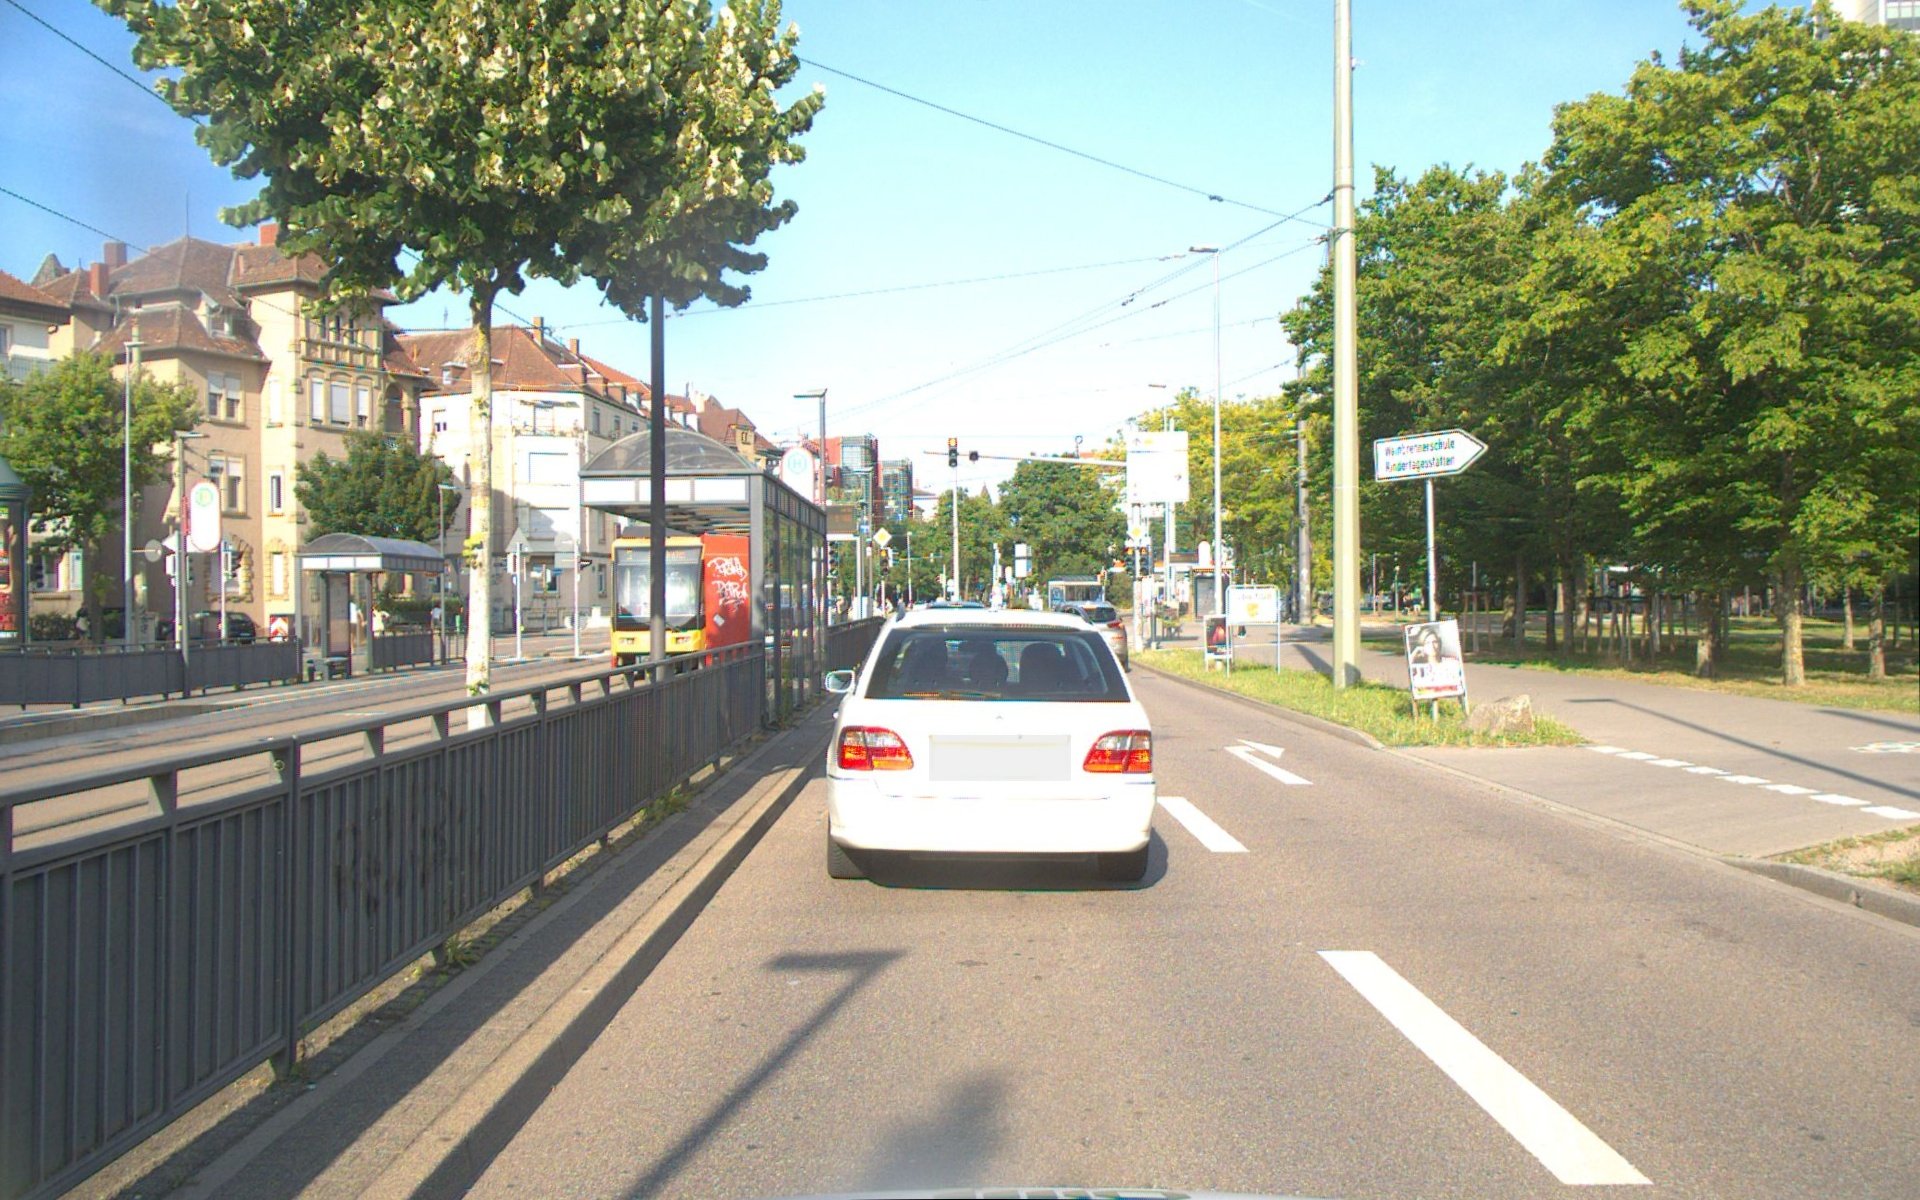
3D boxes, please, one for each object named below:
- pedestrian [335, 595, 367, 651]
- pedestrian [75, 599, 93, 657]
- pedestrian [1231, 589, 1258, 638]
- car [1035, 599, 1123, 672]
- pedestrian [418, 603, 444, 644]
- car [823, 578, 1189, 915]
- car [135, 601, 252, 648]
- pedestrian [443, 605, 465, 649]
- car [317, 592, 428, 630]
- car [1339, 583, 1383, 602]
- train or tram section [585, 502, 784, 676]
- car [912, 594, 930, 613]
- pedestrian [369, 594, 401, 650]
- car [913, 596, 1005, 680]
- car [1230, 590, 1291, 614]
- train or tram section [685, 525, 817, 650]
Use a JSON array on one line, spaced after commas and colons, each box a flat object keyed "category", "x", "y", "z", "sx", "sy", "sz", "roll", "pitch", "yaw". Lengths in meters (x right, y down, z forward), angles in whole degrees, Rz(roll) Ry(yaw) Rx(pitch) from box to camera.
[{"category": "pedestrian", "x": -19.516, "y": 0.724, "z": 53.026, "sx": 0.870, "sy": 1.784, "sz": 0.744, "roll": 0, "pitch": 0, "yaw": -11}, {"category": "pedestrian", "x": -30.792, "y": 0.975, "z": 58.144, "sx": 0.374, "sy": 2.049, "sz": 0.408, "roll": 0, "pitch": 0, "yaw": 18}, {"category": "pedestrian", "x": 9.847, "y": 0.473, "z": 57.266, "sx": 0.867, "sy": 1.681, "sz": 0.746, "roll": 0, "pitch": 0, "yaw": 8}, {"category": "car", "x": 2.837, "y": 0.801, "z": 39.530, "sx": 1.990, "sy": 1.633, "sz": 4.002, "roll": 0, "pitch": 0, "yaw": 4}, {"category": "pedestrian", "x": -23.266, "y": 1.013, "z": 72.792, "sx": 0.868, "sy": 1.784, "sz": 0.746, "roll": 0, "pitch": 0, "yaw": 3}, {"category": "car", "x": 0.129, "y": 0.672, "z": 9.918, "sx": 1.723, "sy": 1.529, "sz": 3.998, "roll": -2, "pitch": 1, "yaw": -3}, {"category": "car", "x": -30.561, "y": 0.957, "z": 65.975, "sx": 3.903, "sy": 1.780, "sz": 2.001, "roll": 0, "pitch": 0, "yaw": 17}, {"category": "pedestrian", "x": -20.723, "y": 1.111, "z": 67.760, "sx": 0.651, "sy": 1.784, "sz": 0.746, "roll": 0, "pitch": 0, "yaw": 3}, {"category": "car", "x": -26.501, "y": 0.470, "z": 74.763, "sx": 2.159, "sy": 1.656, "sz": 4.716, "roll": 0, "pitch": 0, "yaw": 22}, {"category": "car", "x": 37.026, "y": -0.658, "z": 152.664, "sx": 3.902, "sy": 1.680, "sz": 2.002, "roll": -1, "pitch": 0, "yaw": 14}, {"category": "train or tram section", "x": -6.356, "y": -0.294, "z": 40.586, "sx": 2.791, "sy": 3.540, "sz": 13.198, "roll": 0, "pitch": 1, "yaw": -1}, {"category": "car", "x": -4.391, "y": 0.407, "z": 186.717, "sx": 1.953, "sy": 2.049, "sz": 3.999, "roll": -1, "pitch": 0, "yaw": -1}, {"category": "pedestrian", "x": -18.501, "y": 0.711, "z": 53.246, "sx": 0.870, "sy": 1.784, "sz": 0.744, "roll": 0, "pitch": 0, "yaw": -11}, {"category": "car", "x": 0.027, "y": 0.783, "z": 36.479, "sx": 1.750, "sy": 1.719, "sz": 4.002, "roll": 0, "pitch": 0, "yaw": 4}, {"category": "car", "x": 21.688, "y": 0.161, "z": 119.388, "sx": 3.908, "sy": 1.680, "sz": 1.999, "roll": -1, "pitch": 0, "yaw": 25}, {"category": "train or tram section", "x": -6.500, "y": -0.399, "z": 53.605, "sx": 2.791, "sy": 3.540, "sz": 13.197, "roll": 0, "pitch": 0, "yaw": -1}]
